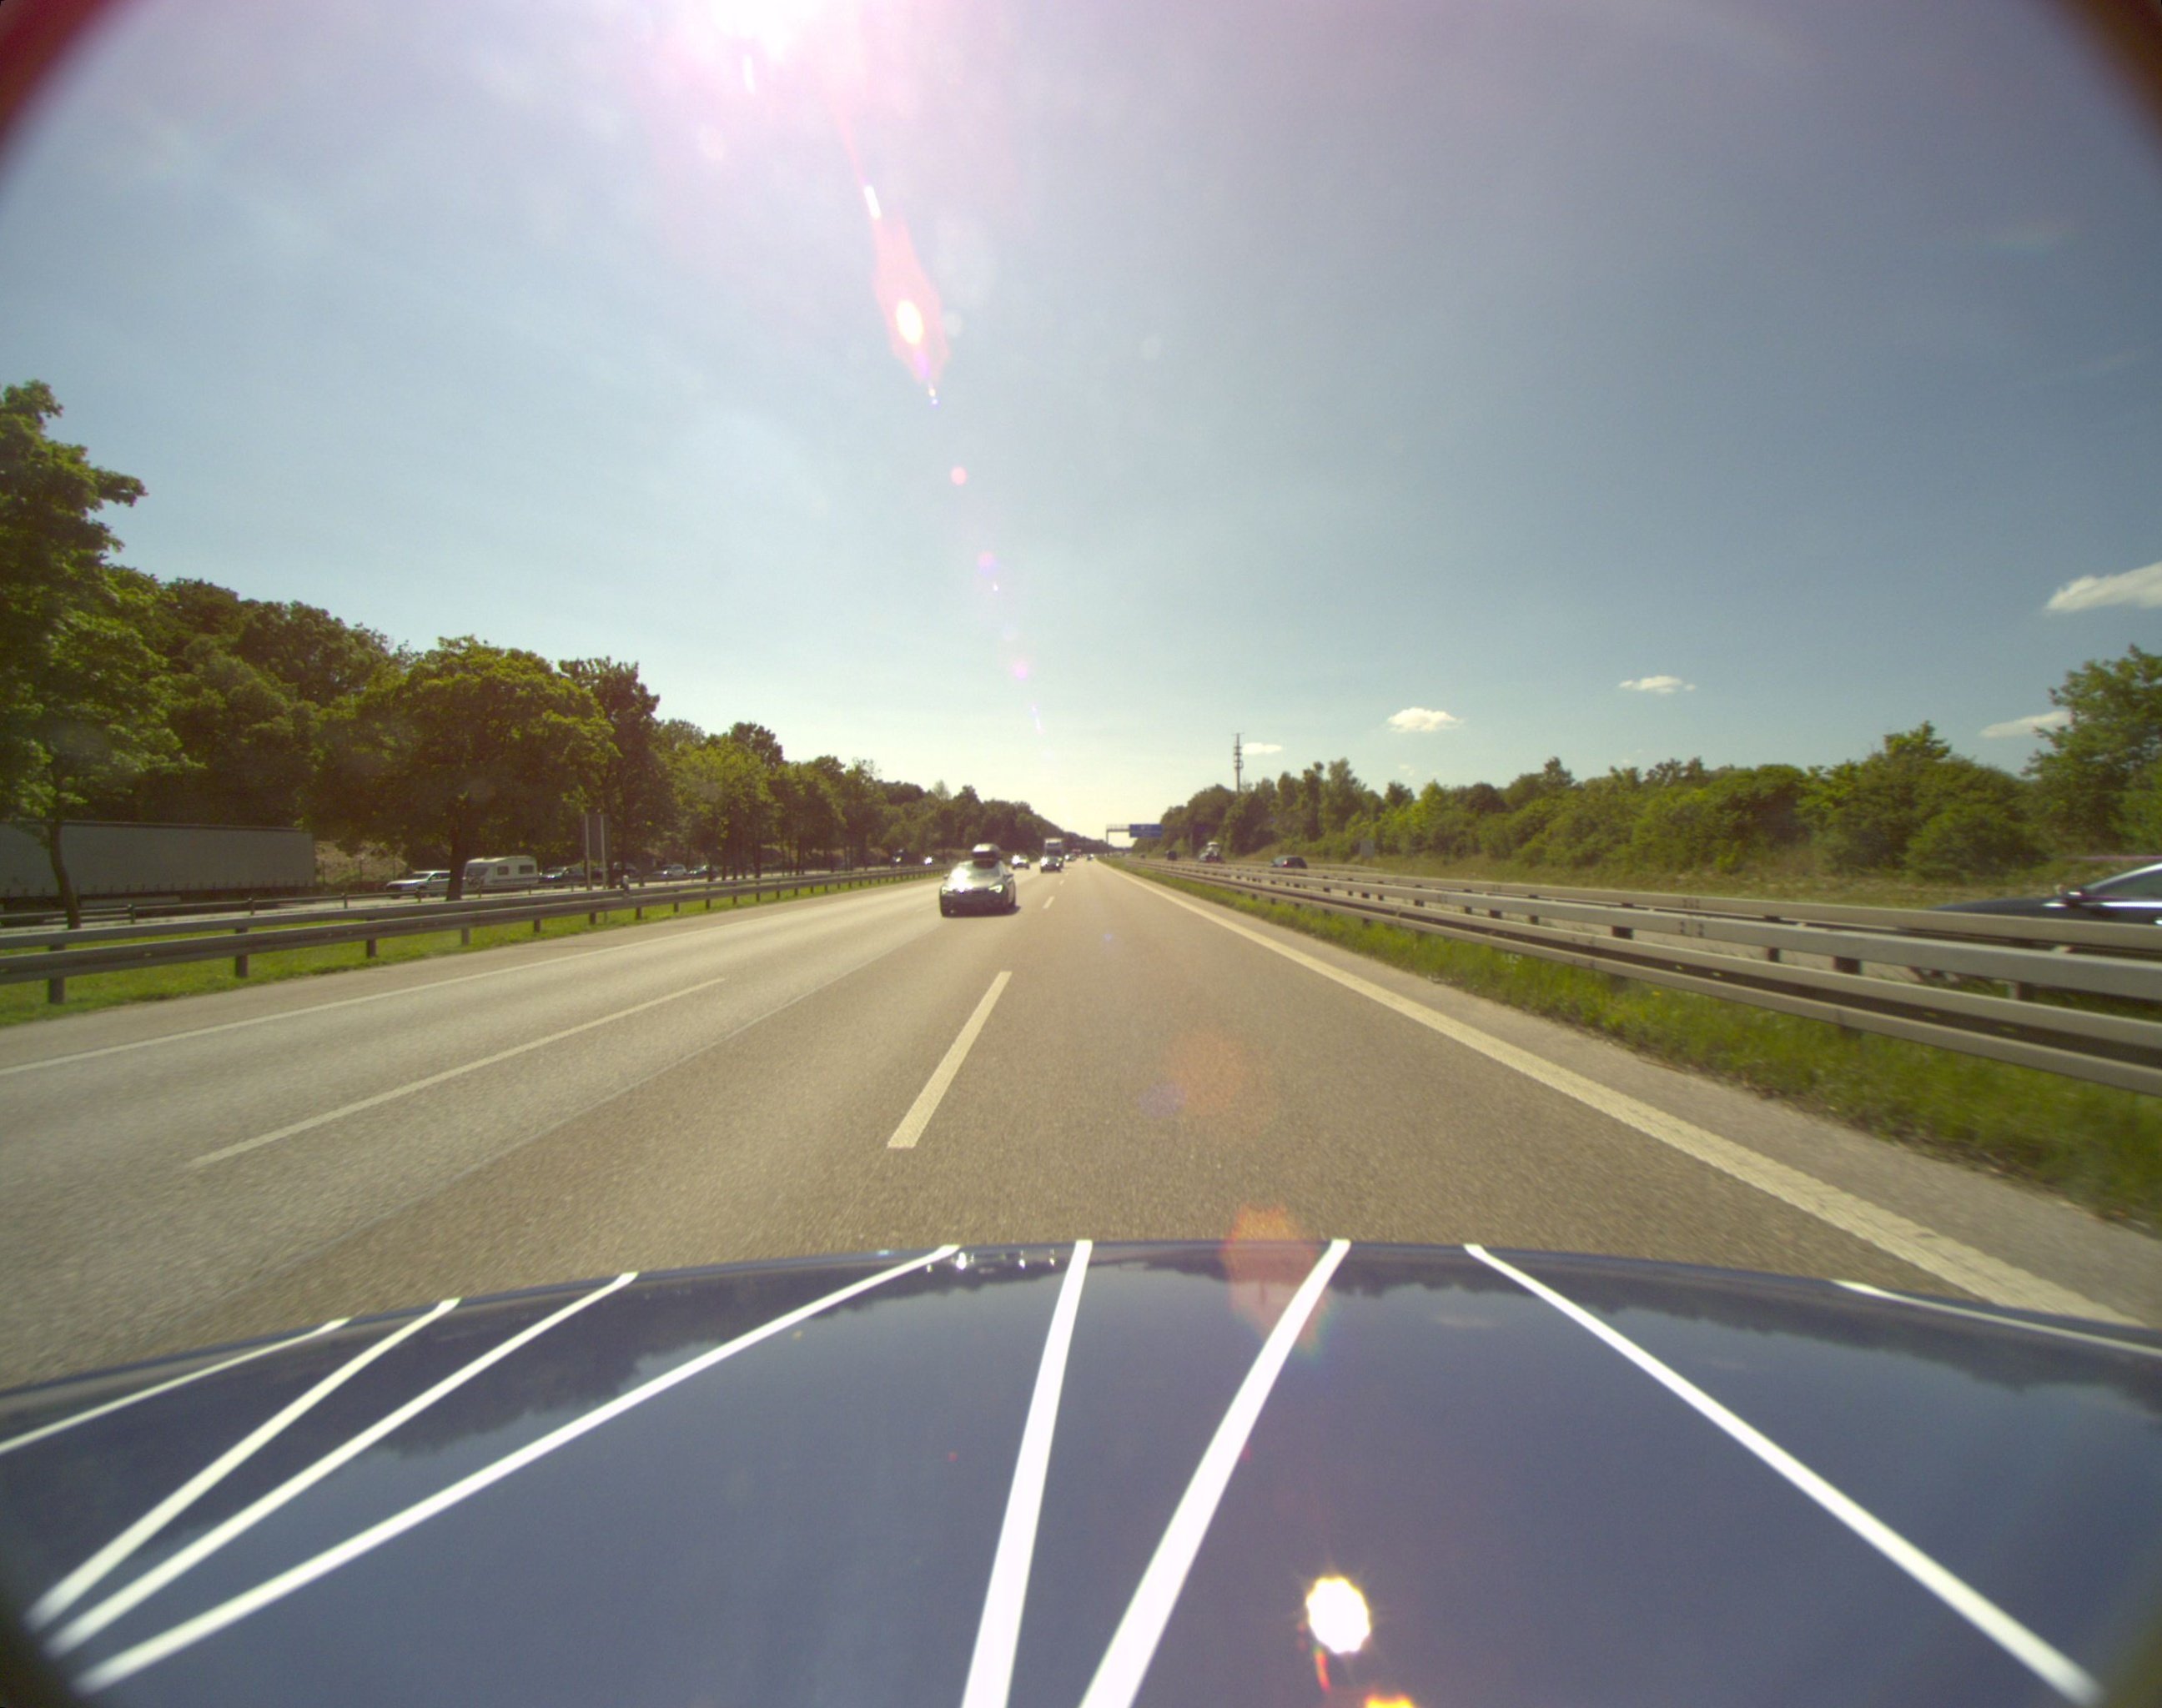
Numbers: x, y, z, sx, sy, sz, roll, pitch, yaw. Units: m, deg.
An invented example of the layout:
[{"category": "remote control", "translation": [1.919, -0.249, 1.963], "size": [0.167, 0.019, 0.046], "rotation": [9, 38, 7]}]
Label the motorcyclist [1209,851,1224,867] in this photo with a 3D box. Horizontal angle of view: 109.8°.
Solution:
[{"category": "motorcyclist", "translation": [9.754, 0.360, 54.681], "size": [0.877, 1.070, 0.811], "rotation": [1, 1, 0]}]

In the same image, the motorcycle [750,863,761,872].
[{"category": "motorcycle", "translation": [-40.109, 1.660, 93.635], "size": [0.559, 1.024, 1.673], "rotation": [-1, 0, 6]}]

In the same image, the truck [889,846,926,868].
[{"category": "truck", "translation": [-33.031, 0.561, 145.127], "size": [3.290, 3.924, 9.359], "rotation": [0, 0, 12]}]

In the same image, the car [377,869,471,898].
[{"category": "car", "translation": [-41.097, 1.836, 47.674], "size": [1.659, 1.588, 4.556], "rotation": [-1, 0, 5]}]

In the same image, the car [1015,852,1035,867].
[{"category": "car", "translation": [-6.465, 0.621, 87.915], "size": [1.848, 1.559, 4.036], "rotation": [-2, 0, 2]}]

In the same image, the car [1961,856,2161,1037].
[{"category": "car", "translation": [9.792, 0.766, 5.505], "size": [1.998, 1.431, 4.203], "rotation": [-1, 0, 1]}]

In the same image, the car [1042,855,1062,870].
[{"category": "car", "translation": [-2.553, 0.720, 67.640], "size": [1.537, 1.265, 2.770], "rotation": [-1, 0, 1]}]

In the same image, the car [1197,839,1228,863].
[{"category": "car", "translation": [11.923, -0.302, 69.139], "size": [1.999, 2.097, 4.301], "rotation": [0, 0, -1]}]

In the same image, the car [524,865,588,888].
[{"category": "car", "translation": [-41.339, 1.746, 59.975], "size": [1.659, 1.632, 4.498], "rotation": [-1, 0, 5]}]

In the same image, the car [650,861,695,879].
[{"category": "car", "translation": [-40.941, 1.570, 76.275], "size": [1.659, 1.666, 4.653], "rotation": [-1, 0, 5]}]

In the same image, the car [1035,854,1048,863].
[{"category": "car", "translation": [-7.727, 0.813, 148.877], "size": [1.924, 1.659, 4.687], "rotation": [-2, 0, 3]}]

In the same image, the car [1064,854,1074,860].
[{"category": "car", "translation": [-2.576, 0.711, 165.298], "size": [1.831, 1.346, 3.680], "rotation": [0, 0, 2]}]

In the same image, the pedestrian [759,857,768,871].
[{"category": "pedestrian", "translation": [-39.395, 1.239, 94.316], "size": [0.641, 1.772, 0.802], "rotation": [0, 1, 40]}]

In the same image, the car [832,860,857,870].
[{"category": "car", "translation": [-37.575, 1.749, 120.628], "size": [1.997, 1.641, 4.321], "rotation": [0, 0, 10]}]

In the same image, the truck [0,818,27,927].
[{"category": "truck", "translation": [-40.112, 0.683, 25.382], "size": [2.979, 3.908, 4.831], "rotation": [-1, 1, -4]}]

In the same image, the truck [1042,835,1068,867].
[{"category": "truck", "translation": [-3.031, -0.346, 90.891], "size": [2.676, 3.660, 6.484], "rotation": [-1, 0, 1]}]

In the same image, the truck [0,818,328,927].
[{"category": "truck", "translation": [-40.634, 0.664, 32.605], "size": [3.005, 3.908, 14.453], "rotation": [-1, 0, -4]}]

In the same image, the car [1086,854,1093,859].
[{"category": "car", "translation": [2.002, 0.546, 174.921], "size": [1.591, 1.291, 3.383], "rotation": [0, 0, 2]}]

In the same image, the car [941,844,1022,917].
[{"category": "car", "translation": [-2.752, 0.683, 21.979], "size": [1.669, 1.865, 4.827], "rotation": [0, 0, 0]}]

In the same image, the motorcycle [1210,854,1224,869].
[{"category": "motorcycle", "translation": [9.750, 0.541, 54.583], "size": [0.666, 1.070, 1.881], "rotation": [1, 1, 1]}]

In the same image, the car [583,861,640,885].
[{"category": "car", "translation": [-40.706, 1.621, 66.061], "size": [1.659, 1.866, 4.801], "rotation": [-1, 0, 5]}]

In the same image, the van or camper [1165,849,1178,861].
[{"category": "van or camper", "translation": [18.418, 0.145, 154.462], "size": [1.998, 2.378, 6.241], "rotation": [0, 0, 0]}]

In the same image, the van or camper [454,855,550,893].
[{"category": "van or camper", "translation": [-41.178, 1.352, 54.296], "size": [2.209, 2.516, 5.875], "rotation": [-1, 0, 1]}]

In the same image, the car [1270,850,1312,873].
[{"category": "car", "translation": [14.208, 0.500, 51.648], "size": [1.747, 1.450, 4.232], "rotation": [-1, 0, 1]}]

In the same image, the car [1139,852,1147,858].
[{"category": "car", "translation": [19.424, 0.192, 237.803], "size": [1.999, 1.824, 5.332], "rotation": [2, 0, -1]}]
